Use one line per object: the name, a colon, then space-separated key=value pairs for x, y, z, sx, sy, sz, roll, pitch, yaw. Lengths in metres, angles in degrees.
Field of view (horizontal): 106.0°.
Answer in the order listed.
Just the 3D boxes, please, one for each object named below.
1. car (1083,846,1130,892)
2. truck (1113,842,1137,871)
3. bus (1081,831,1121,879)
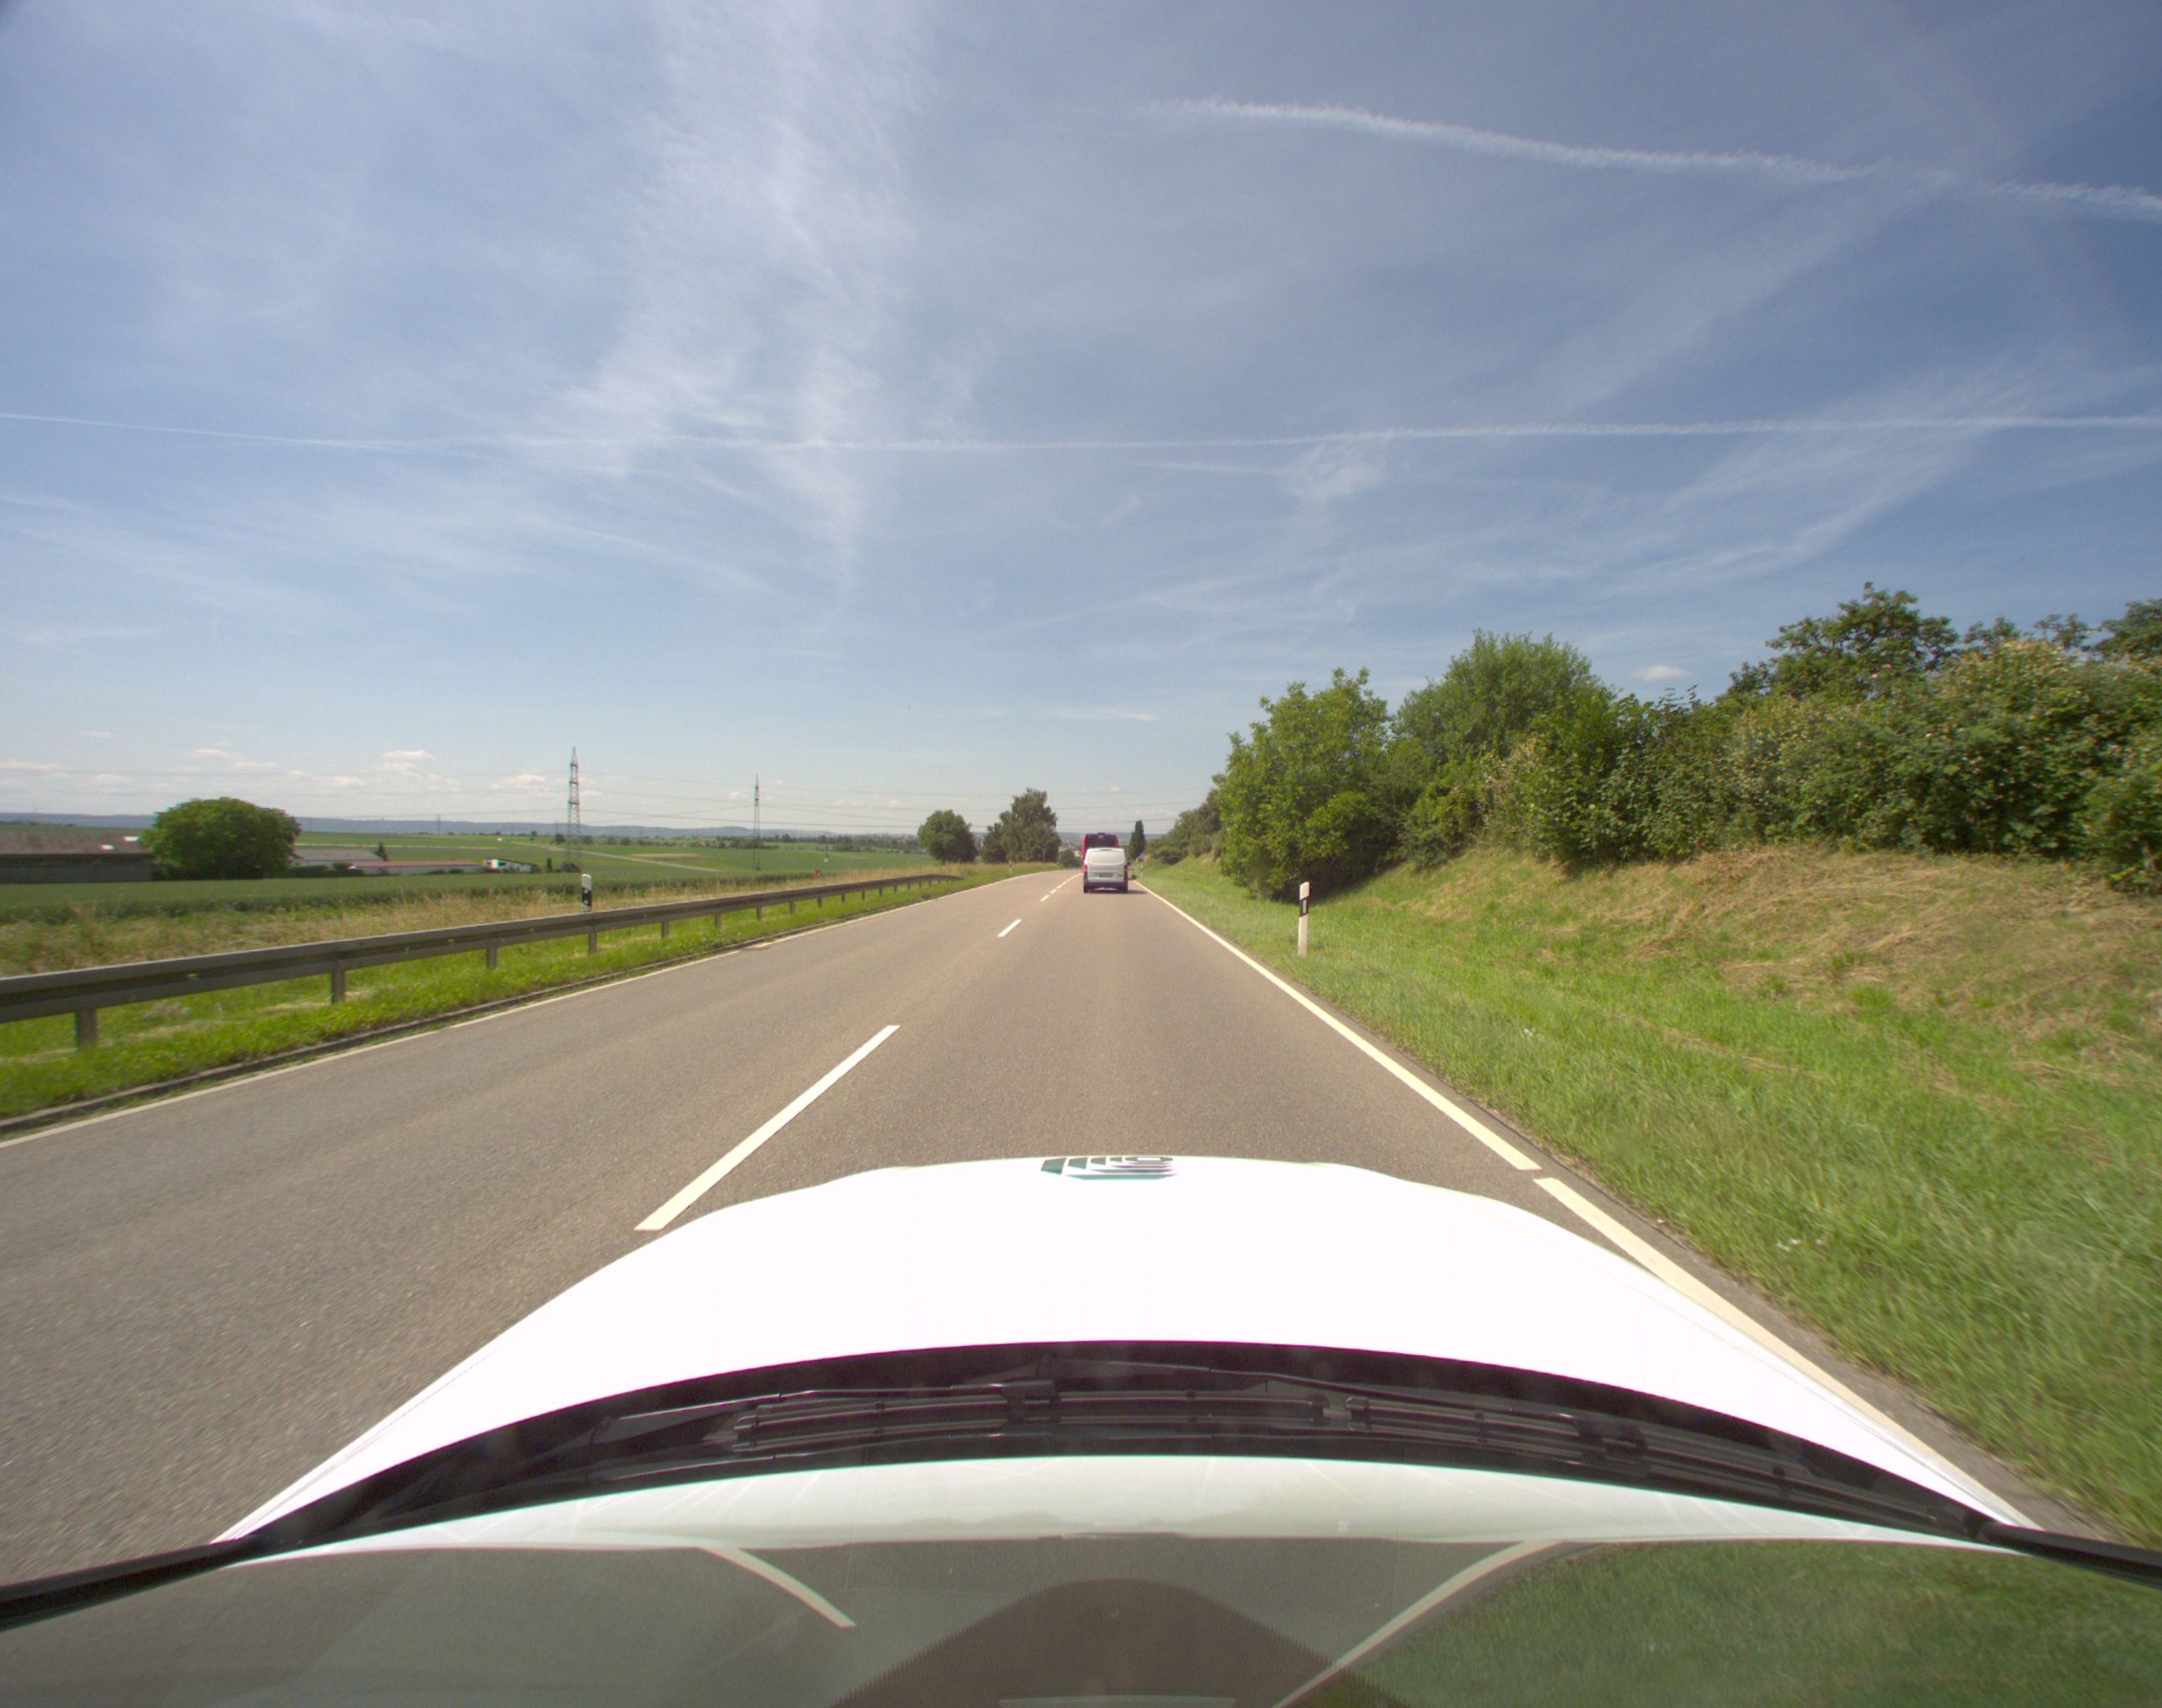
car: x=1.131 y=0.615 z=35.172 sx=1.916 sy=1.889 sz=4.002 roll=0 pitch=0 yaw=2
truck: x=6.923 y=0.465 z=130.020 sx=3.475 sy=4.423 sz=14.909 roll=0 pitch=-1 yaw=2
bus: x=1.472 y=-0.042 z=63.646 sx=2.737 sy=3.353 sz=13.223 roll=-1 pitch=1 yaw=1
